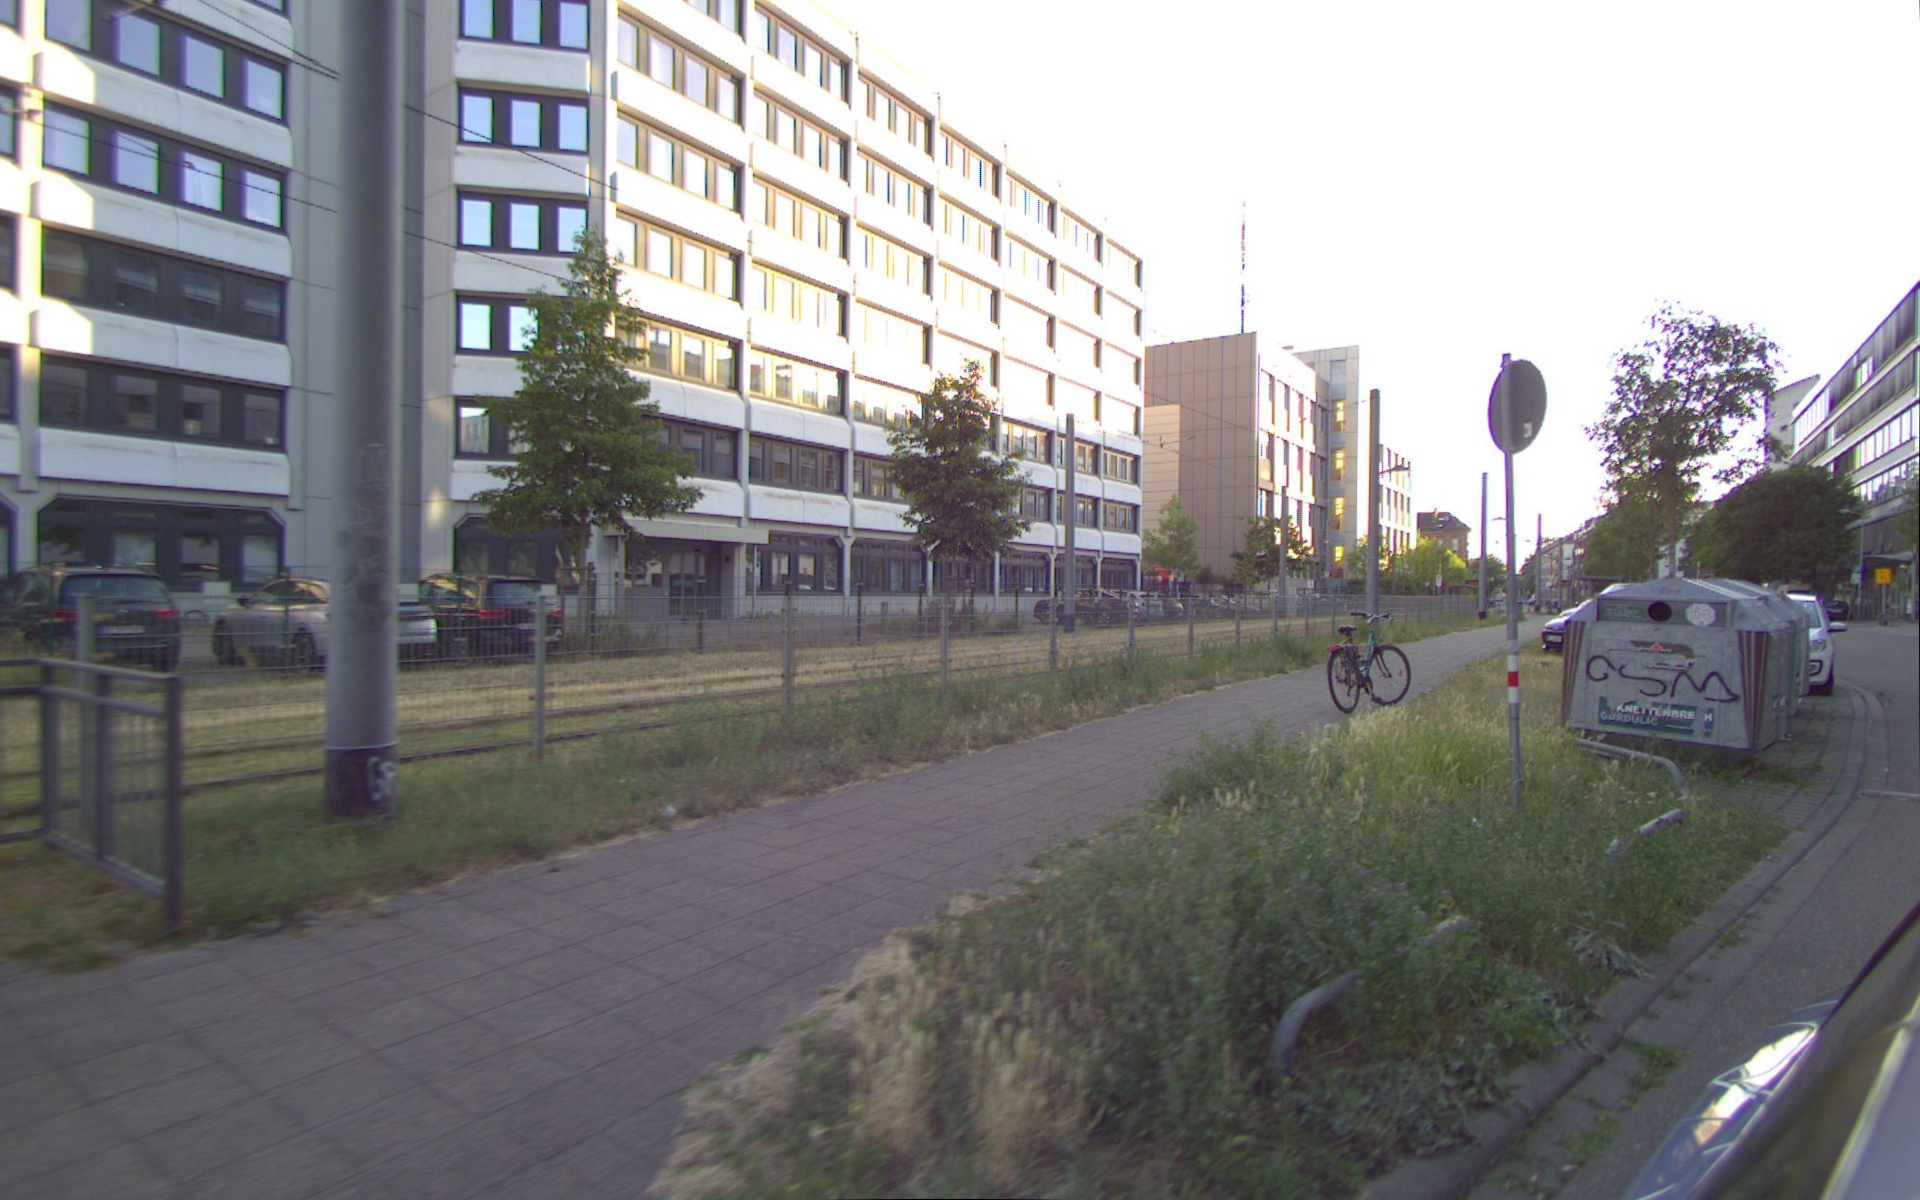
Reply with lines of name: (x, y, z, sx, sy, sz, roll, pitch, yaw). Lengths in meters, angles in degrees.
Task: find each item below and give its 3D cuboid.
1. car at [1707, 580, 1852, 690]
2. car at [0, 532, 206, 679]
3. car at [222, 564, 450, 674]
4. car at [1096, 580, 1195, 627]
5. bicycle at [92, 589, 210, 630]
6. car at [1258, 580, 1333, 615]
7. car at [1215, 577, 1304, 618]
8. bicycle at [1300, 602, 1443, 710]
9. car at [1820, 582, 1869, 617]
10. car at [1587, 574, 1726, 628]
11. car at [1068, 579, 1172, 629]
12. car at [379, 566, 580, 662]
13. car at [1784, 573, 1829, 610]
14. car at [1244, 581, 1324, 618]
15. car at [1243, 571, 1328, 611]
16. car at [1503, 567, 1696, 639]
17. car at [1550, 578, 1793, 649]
car: (13.019, 0.484, 16.046, 1.625, 1.530, 3.367, 1, 1, 41)
car: (-13.945, 0.049, 16.145, 4.249, 2.039, 1.974, 1, 1, 37)
car: (-10.524, 0.253, 16.950, 4.380, 1.613, 1.793, 1, 1, 37)
car: (8.384, 0.131, 45.799, 3.971, 2.039, 1.976, 1, 0, 33)
bicycle: (-20.369, 0.221, 25.534, 0.809, 0.962, 2.188, 1, 1, 34)
car: (20.307, -0.185, 61.334, 3.971, 2.039, 1.976, 1, 0, 33)
car: (15.268, -0.154, 51.638, 3.971, 2.039, 1.976, 1, 0, 33)
bicycle: (4.721, 0.597, 11.565, 1.888, 1.149, 0.543, 0, 0, -34)
car: (53.855, -0.062, 61.711, 1.990, 2.039, 3.945, 1, 1, 38)
car: (26.559, 0.034, 38.652, 4.094, 1.984, 1.718, 0, 0, 0)
car: (6.842, 0.134, 43.417, 3.971, 2.039, 1.976, 1, 0, 33)
car: (-9.101, 0.213, 19.081, 3.976, 1.613, 1.794, 1, 1, 37)
car: (61.755, -0.611, 73.909, 1.985, 2.618, 3.953, 1, 1, 33)
car: (18.465, -0.042, 57.637, 3.971, 2.039, 1.976, 1, 0, 33)
car: (17.324, -0.481, 53.884, 3.971, 2.039, 1.976, 1, 0, 33)
car: (16.588, 0.059, 26.374, 3.924, 1.779, 1.718, 0, 0, 0)
car: (14.858, 0.269, 21.255, 3.921, 1.393, 1.719, 0, 0, -3)
